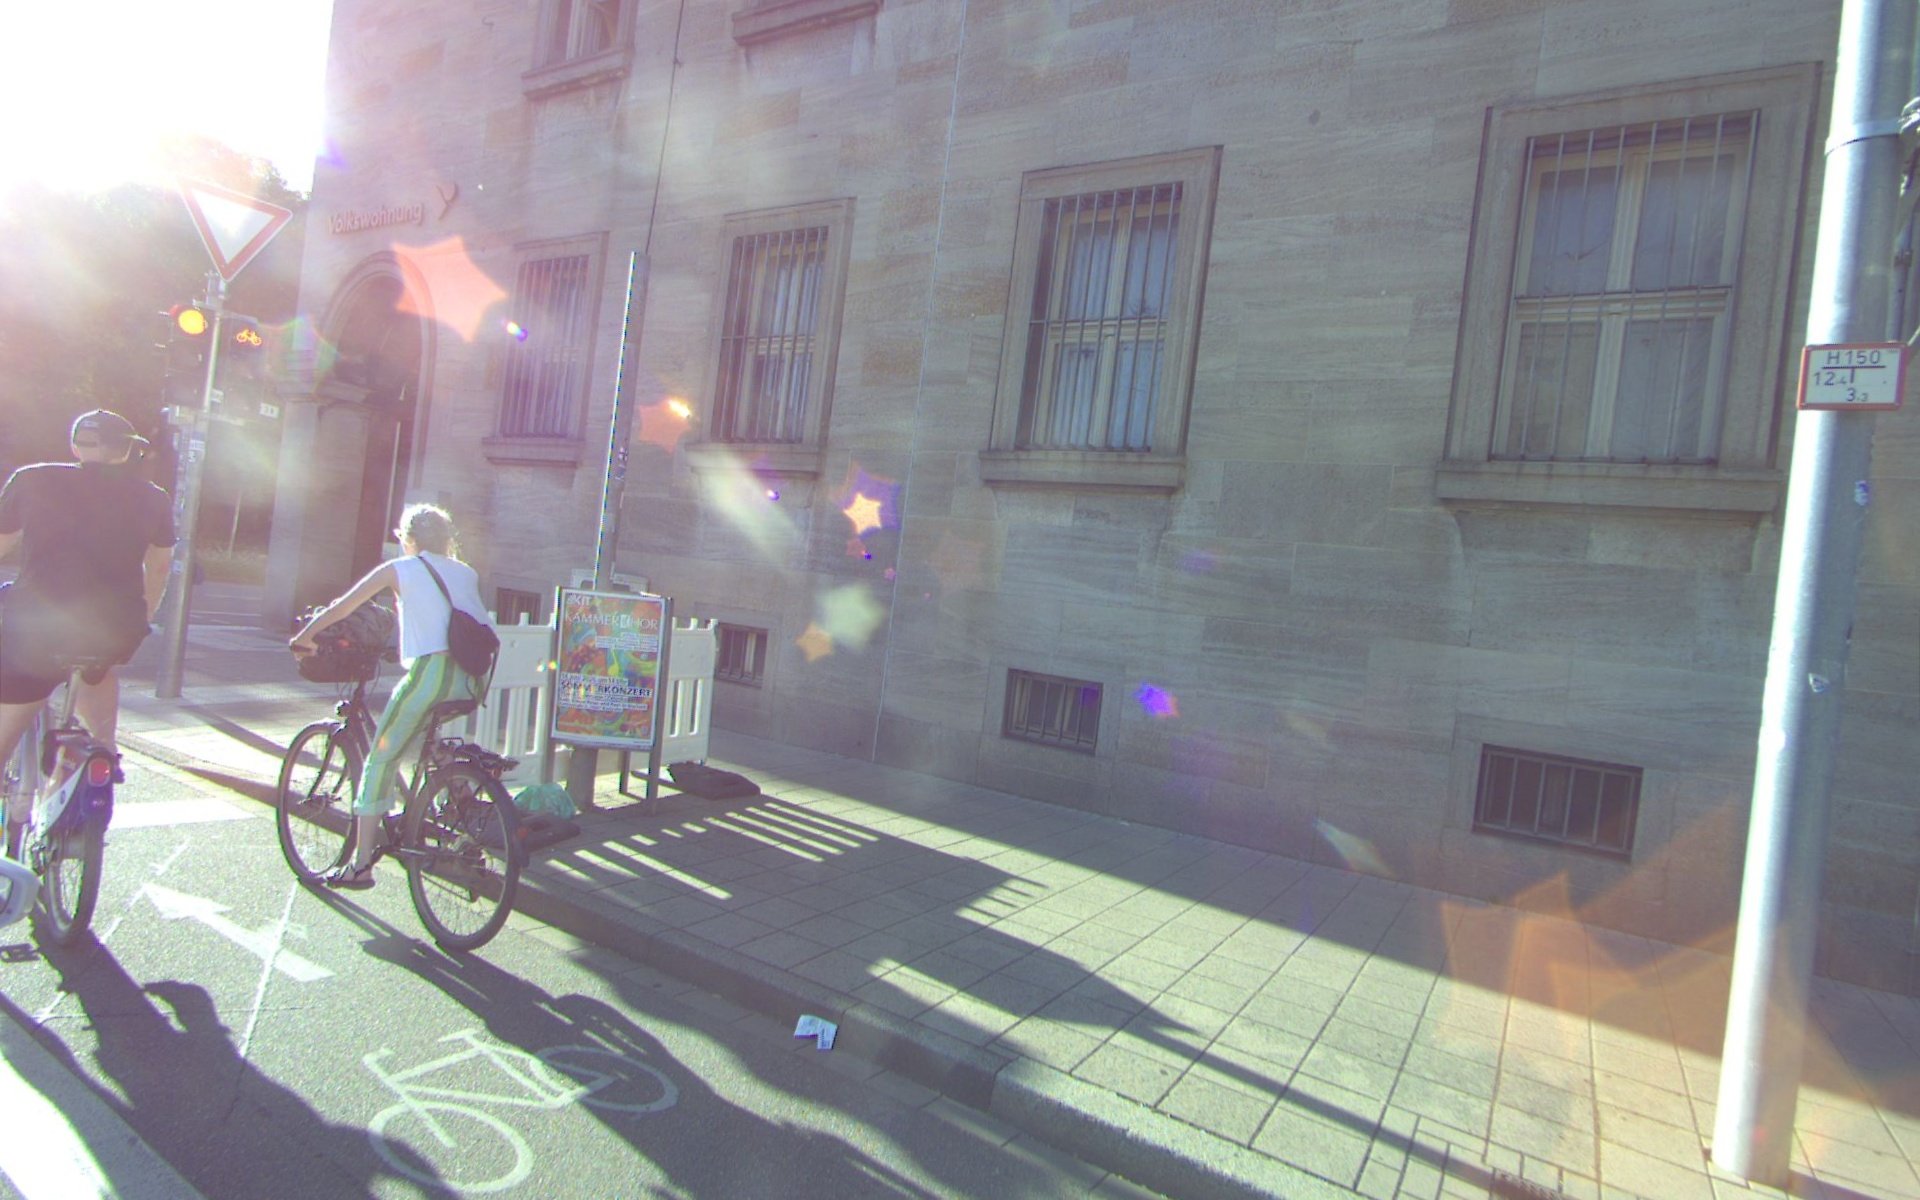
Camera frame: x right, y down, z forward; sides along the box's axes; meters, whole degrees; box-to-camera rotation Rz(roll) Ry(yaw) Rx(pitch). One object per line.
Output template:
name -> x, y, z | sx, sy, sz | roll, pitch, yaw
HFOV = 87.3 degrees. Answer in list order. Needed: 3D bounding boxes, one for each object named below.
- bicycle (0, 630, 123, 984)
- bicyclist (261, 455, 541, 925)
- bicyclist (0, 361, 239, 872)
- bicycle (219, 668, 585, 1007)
bicycle -> -3.649, 0.663, 3.786 | 1.923, 0.916, 0.388 | 7, 0, 41
bicyclist -> -2.279, 0.315, 4.091 | 0.845, 1.700, 0.522 | 7, 1, 35
bicyclist -> -3.291, 0.064, 3.745 | 0.646, 1.698, 0.670 | 7, 0, 35
bicycle -> -2.341, 0.850, 4.095 | 1.920, 0.887, 0.427 | 7, 0, 35
